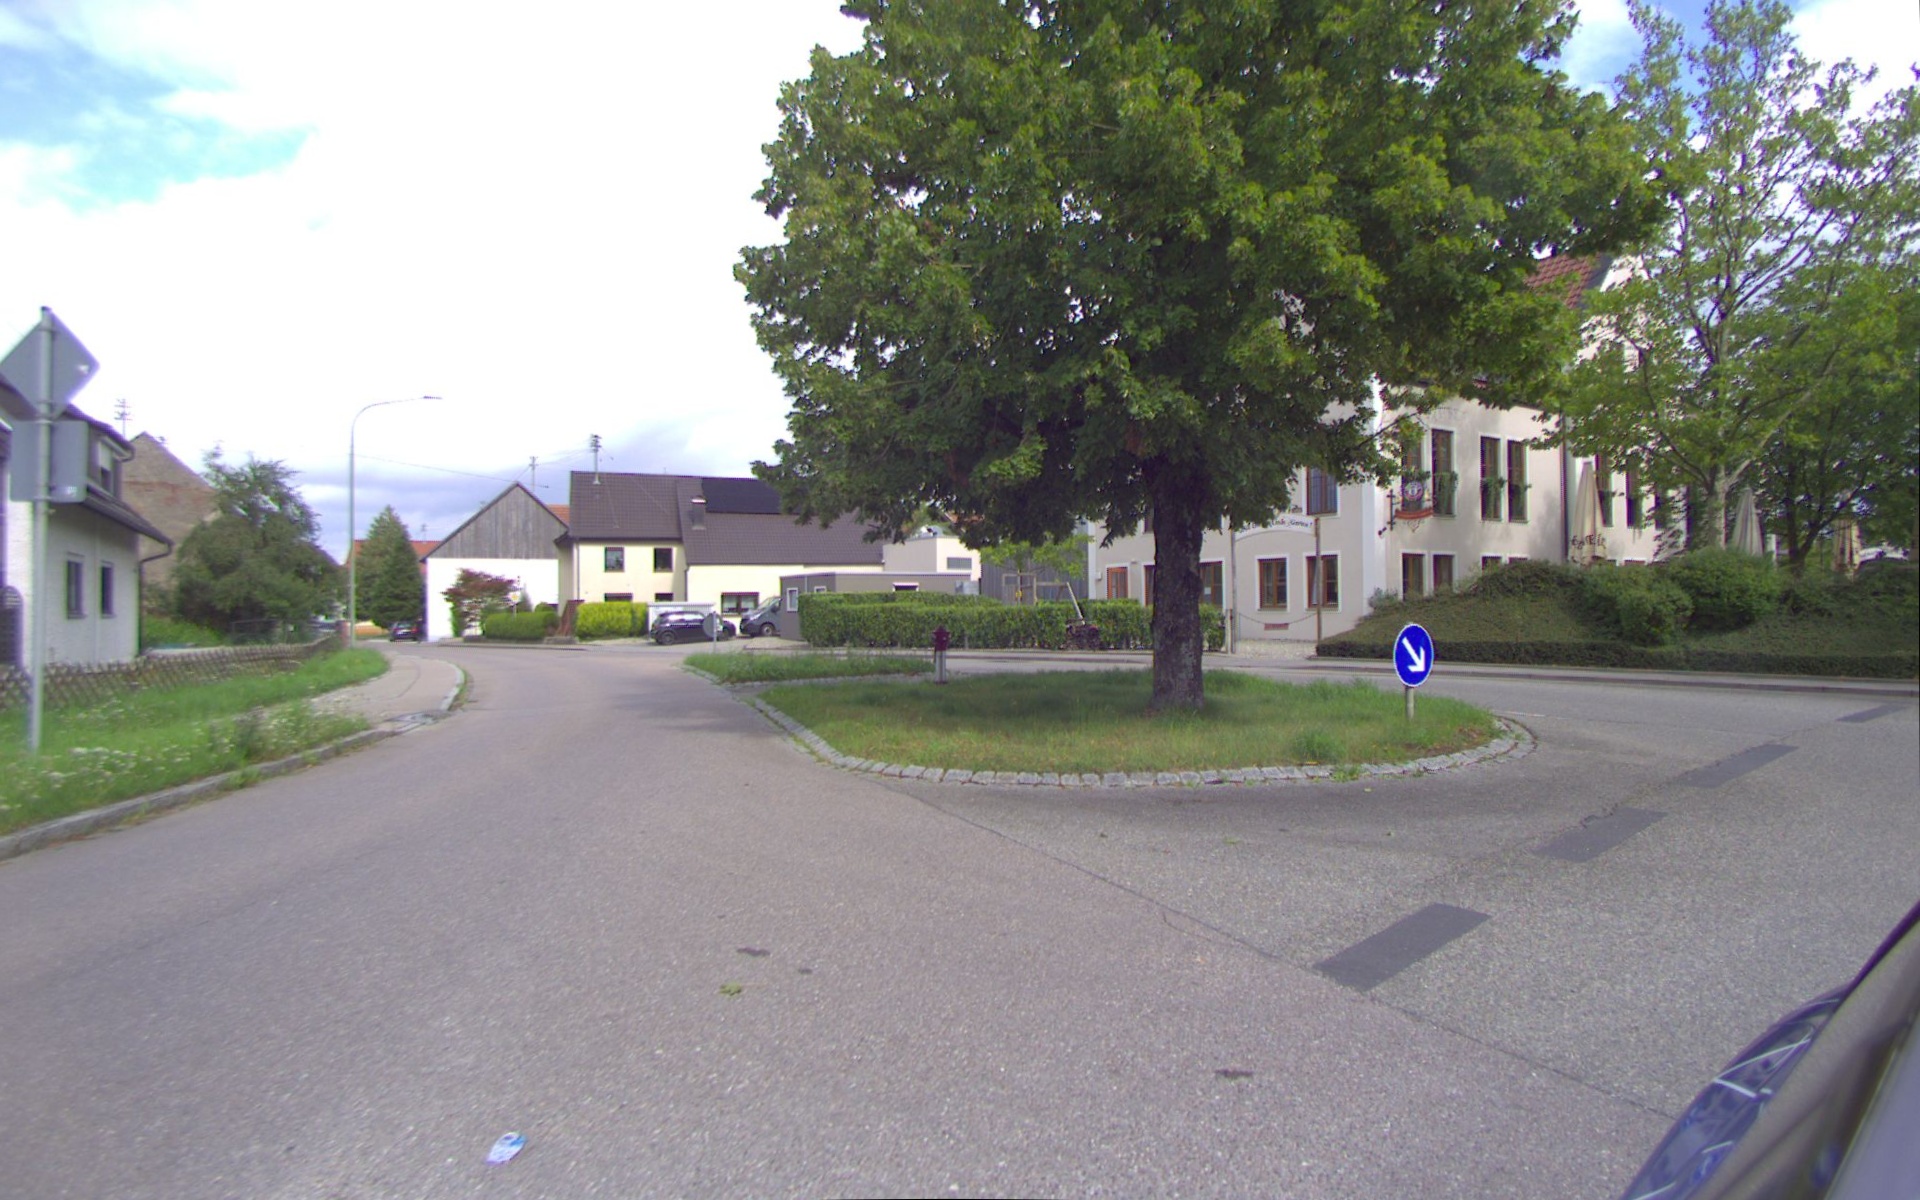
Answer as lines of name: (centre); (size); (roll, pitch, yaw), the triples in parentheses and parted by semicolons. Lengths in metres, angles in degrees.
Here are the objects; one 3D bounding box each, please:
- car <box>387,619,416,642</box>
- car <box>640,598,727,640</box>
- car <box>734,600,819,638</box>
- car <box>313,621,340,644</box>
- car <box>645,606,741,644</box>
car: (-41.187, 2.225, 74.571); (1.696, 1.627, 4.003); (0, 0, -31)
car: (-13.165, 0.861, 48.087); (3.825, 1.720, 1.705); (-3, 2, -19)
car: (-8.618, 0.885, 47.558); (3.567, 1.733, 1.721); (0, -1, -31)
car: (-48.645, 2.470, 77.719); (1.696, 1.627, 4.003); (0, 0, -31)
car: (-12.074, 1.104, 45.782); (3.829, 1.420, 1.704); (-3, 2, -30)
